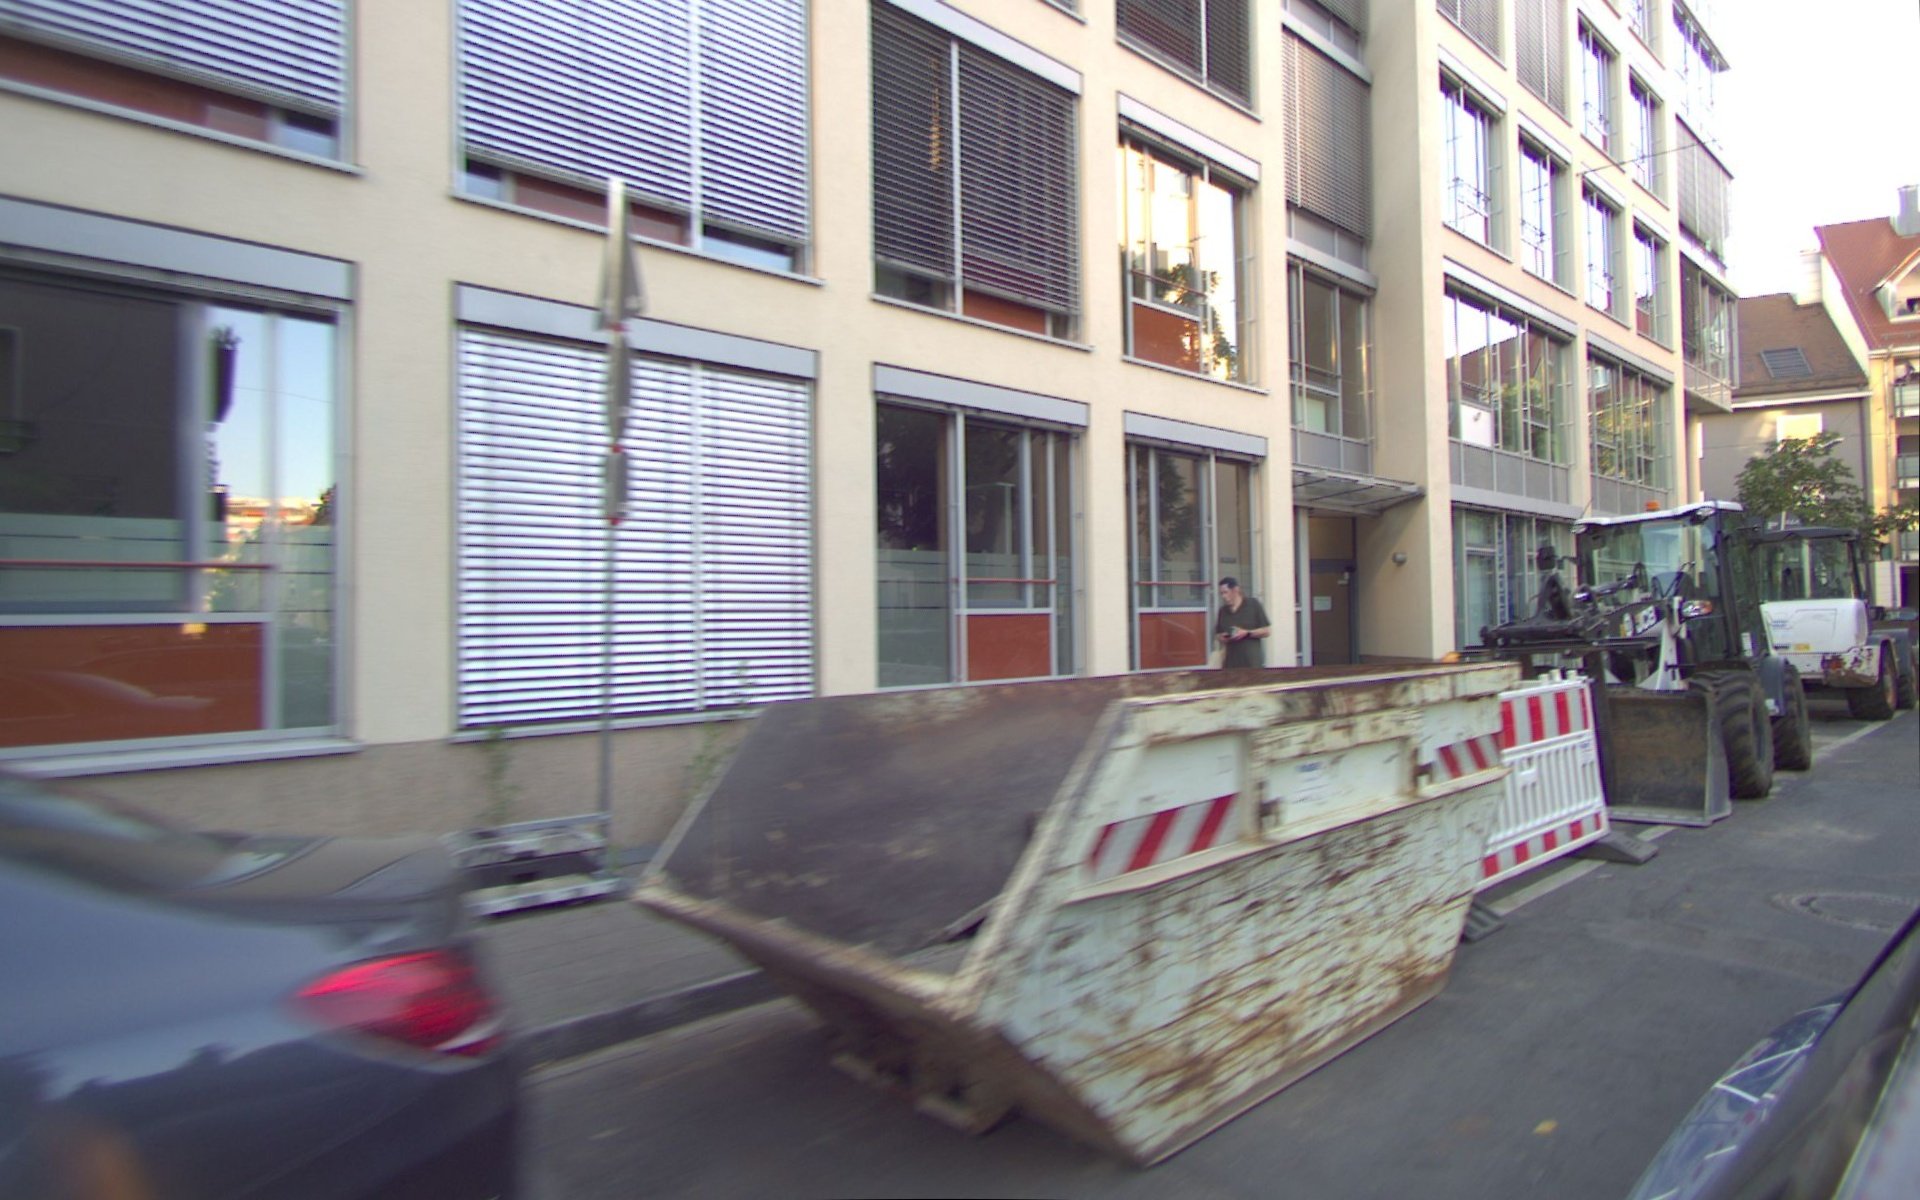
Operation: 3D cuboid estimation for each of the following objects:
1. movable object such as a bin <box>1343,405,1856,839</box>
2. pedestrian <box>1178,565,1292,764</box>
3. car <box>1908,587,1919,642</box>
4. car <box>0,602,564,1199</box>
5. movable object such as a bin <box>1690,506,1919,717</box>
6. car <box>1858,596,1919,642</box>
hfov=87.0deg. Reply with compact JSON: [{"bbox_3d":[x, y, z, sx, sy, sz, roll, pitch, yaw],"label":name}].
[{"bbox_3d":[5.805,0.193,8.795,5.648,2.658,2.019,0,-4,-40],"label":"movable object such as a bin"},{"bbox_3d":[2.689,0.595,9.914,0.709,1.842,0.806,0,-1,-41],"label":"pedestrian"},{"bbox_3d":[31.850,0.441,30.517,4.356,1.717,1.979,0,0,31],"label":"car"},{"bbox_3d":[-2.940,0.808,1.072,4.368,1.491,1.789,0,-3,-41],"label":"car"},{"bbox_3d":[13.205,0.172,15.340,5.649,2.657,2.019,0,-3,-40],"label":"movable object such as a bin"},{"bbox_3d":[34.508,0.655,36.972,1.617,1.468,3.822,0,2,27],"label":"car"}]
